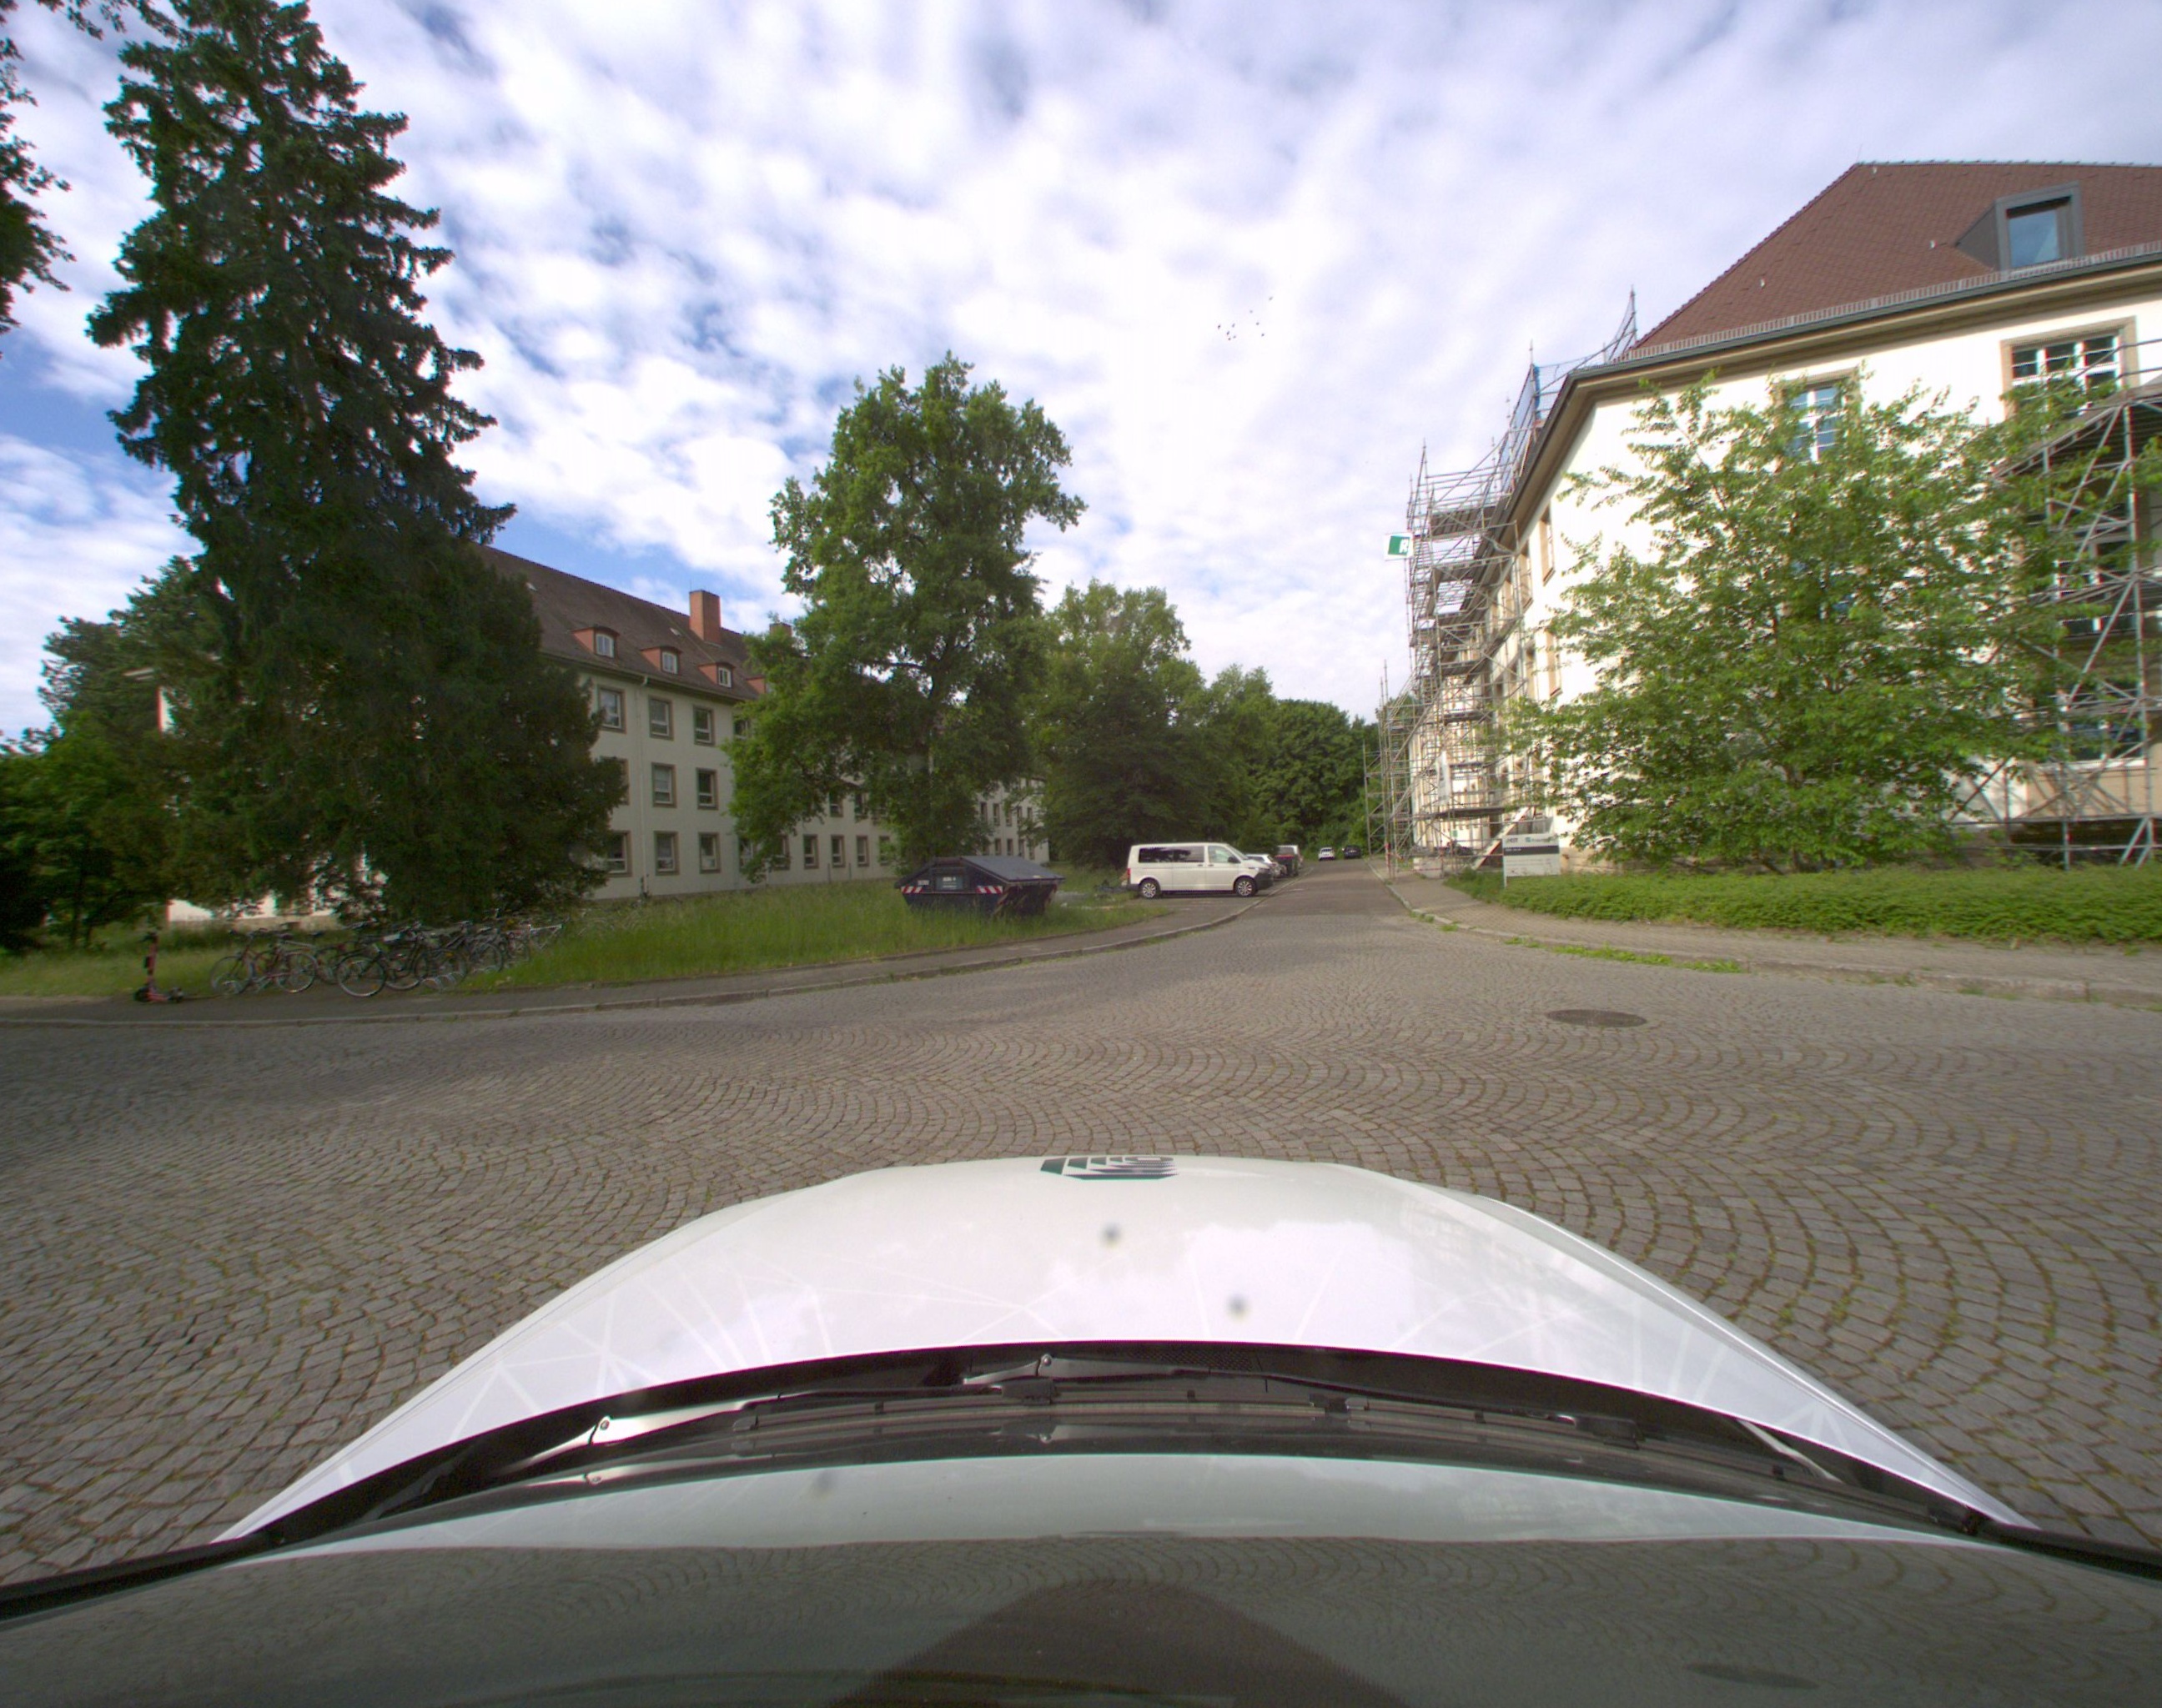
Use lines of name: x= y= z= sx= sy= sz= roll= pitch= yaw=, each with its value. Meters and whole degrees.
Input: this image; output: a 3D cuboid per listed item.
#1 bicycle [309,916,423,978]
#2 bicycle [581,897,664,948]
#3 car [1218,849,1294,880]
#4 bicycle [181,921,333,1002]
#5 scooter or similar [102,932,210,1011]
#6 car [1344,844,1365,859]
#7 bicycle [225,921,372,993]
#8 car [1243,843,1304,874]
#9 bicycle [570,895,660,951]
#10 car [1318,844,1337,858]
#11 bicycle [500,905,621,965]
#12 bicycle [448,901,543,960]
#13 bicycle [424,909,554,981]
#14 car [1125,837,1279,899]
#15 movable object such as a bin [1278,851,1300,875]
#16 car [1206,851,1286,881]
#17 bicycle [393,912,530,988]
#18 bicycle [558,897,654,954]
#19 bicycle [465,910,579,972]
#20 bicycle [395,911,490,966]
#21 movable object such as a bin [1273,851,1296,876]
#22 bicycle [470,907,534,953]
bicycle: x=-14.473 y=1.871 z=16.524 sx=1.625 sy=1.073 sz=0.537 roll=-3 pitch=1 yaw=-12
bicycle: x=-11.054 y=1.639 z=19.657 sx=1.611 sy=1.058 sz=0.527 roll=-4 pitch=1 yaw=-1
car: x=9.382 y=0.540 z=43.585 sx=3.647 sy=1.592 sz=1.775 roll=0 pitch=-1 yaw=25
bicycle: x=-14.338 y=1.852 z=14.201 sx=1.889 sy=1.222 sz=0.643 roll=-3 pitch=1 yaw=-1
scooter or similar: x=-15.669 y=1.983 z=13.792 sx=1.534 sy=1.195 sz=0.686 roll=-4 pitch=0 yaw=22
car: x=30.433 y=-0.268 z=90.652 sx=2.046 sy=1.593 sz=4.021 roll=0 pitch=0 yaw=21
bicycle: x=-14.331 y=1.878 z=14.950 sx=1.979 sy=1.114 sz=0.643 roll=-3 pitch=1 yaw=-1
car: x=13.110 y=0.318 z=55.522 sx=3.958 sy=2.014 sz=1.929 roll=0 pitch=-1 yaw=14
bicycle: x=-10.913 y=1.612 z=19.104 sx=1.691 sy=1.116 sz=0.541 roll=-4 pitch=1 yaw=-1
car: x=27.678 y=-0.349 z=91.658 sx=1.986 sy=1.548 sz=3.975 roll=0 pitch=0 yaw=16
bicycle: x=-10.666 y=1.644 z=16.732 sx=1.948 sy=1.004 sz=0.686 roll=-4 pitch=1 yaw=-1
bicycle: x=-13.539 y=1.759 z=18.867 sx=1.637 sy=1.185 sz=0.573 roll=-3 pitch=1 yaw=-7
bicycle: x=-10.945 y=1.663 z=15.089 sx=1.788 sy=1.103 sz=0.702 roll=-4 pitch=1 yaw=-1
car: x=4.427 y=0.521 z=29.527 sx=5.159 sy=2.060 sz=2.198 roll=-2 pitch=-1 yaw=18
movable object such as a bin: x=12.225 y=0.532 z=47.785 sx=1.174 sy=1.407 sz=0.980 roll=0 pitch=-1 yaw=19
car: x=8.418 y=0.592 z=41.553 sx=3.594 sy=1.481 sz=1.832 roll=0 pitch=-1 yaw=27
bicycle: x=-10.891 y=1.681 z=14.362 sx=1.762 sy=1.103 sz=0.702 roll=-4 pitch=1 yaw=-1
bicycle: x=-10.803 y=1.612 z=18.554 sx=1.765 sy=1.105 sz=0.541 roll=-4 pitch=1 yaw=-1
bicycle: x=-10.836 y=1.674 z=15.820 sx=1.686 sy=1.001 sz=0.632 roll=-4 pitch=1 yaw=-1
bicycle: x=-14.138 y=1.869 z=18.067 sx=1.512 sy=1.035 sz=0.543 roll=-3 pitch=1 yaw=-12
movable object such as a bin: x=11.668 y=0.529 z=46.693 sx=1.174 sy=1.407 sz=0.980 roll=0 pitch=-1 yaw=19
bicycle: x=-14.583 y=1.908 z=20.517 sx=1.255 sy=1.029 sz=0.433 roll=-4 pitch=-3 yaw=-1
